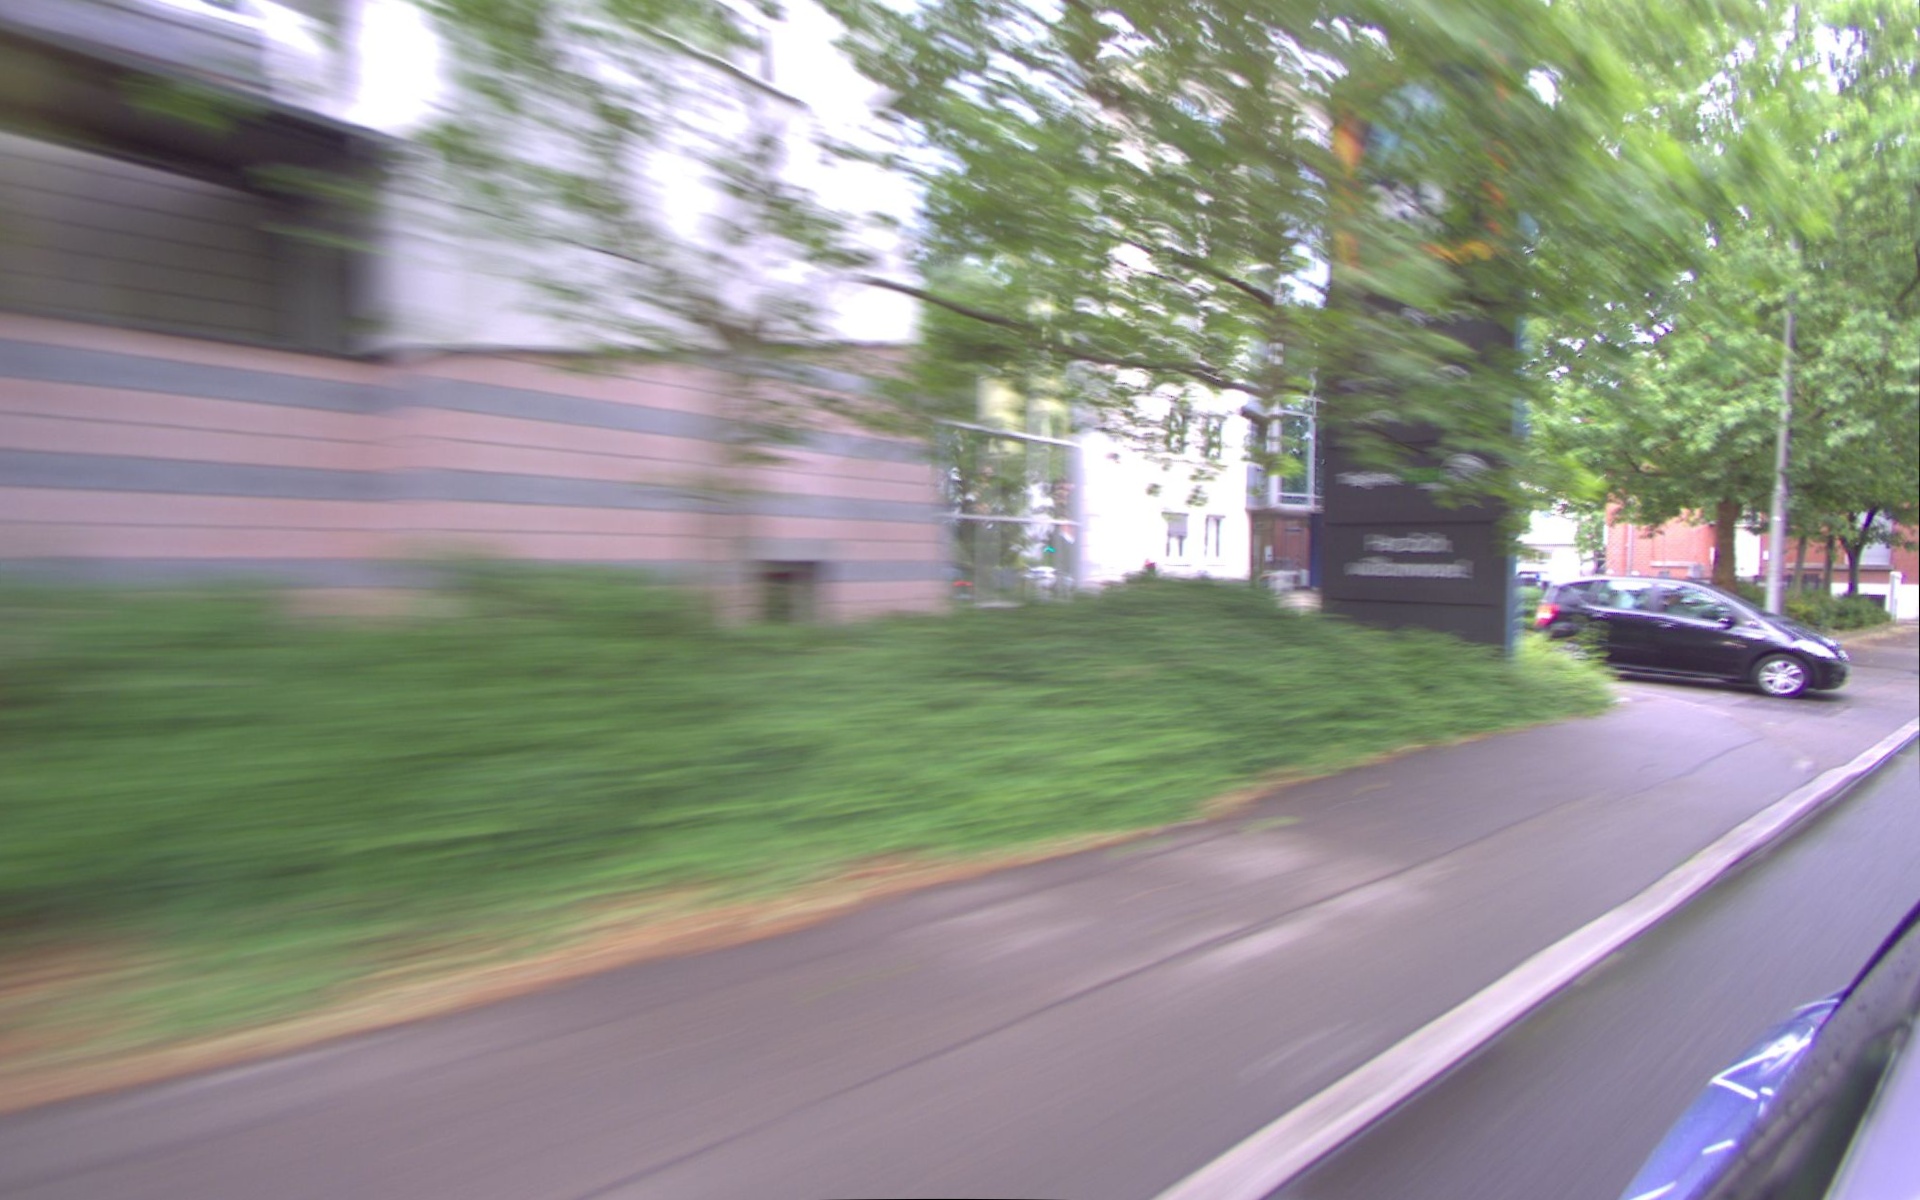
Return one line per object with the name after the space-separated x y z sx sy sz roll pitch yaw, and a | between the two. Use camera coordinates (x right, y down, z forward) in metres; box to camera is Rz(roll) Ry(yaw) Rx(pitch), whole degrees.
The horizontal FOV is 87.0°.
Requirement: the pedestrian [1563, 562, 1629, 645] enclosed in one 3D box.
13.044 0.061 20.764 0.689 1.637 0.920 0 2 -37 | pedestrian

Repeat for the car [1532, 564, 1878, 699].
10.890 0.344 14.942 3.850 1.566 1.995 5 4 44 | car

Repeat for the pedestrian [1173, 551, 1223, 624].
6.211 -0.336 26.423 0.942 1.850 0.832 0 2 -37 | pedestrian

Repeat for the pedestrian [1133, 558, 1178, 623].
5.701 -0.279 29.478 0.942 1.851 0.832 0 1 -37 | pedestrian

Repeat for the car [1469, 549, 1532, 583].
31.234 -1.969 58.474 3.928 1.840 1.912 -2 1 -40 | car

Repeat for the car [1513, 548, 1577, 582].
32.944 -1.978 56.929 3.928 1.840 1.912 -2 1 -40 | car
